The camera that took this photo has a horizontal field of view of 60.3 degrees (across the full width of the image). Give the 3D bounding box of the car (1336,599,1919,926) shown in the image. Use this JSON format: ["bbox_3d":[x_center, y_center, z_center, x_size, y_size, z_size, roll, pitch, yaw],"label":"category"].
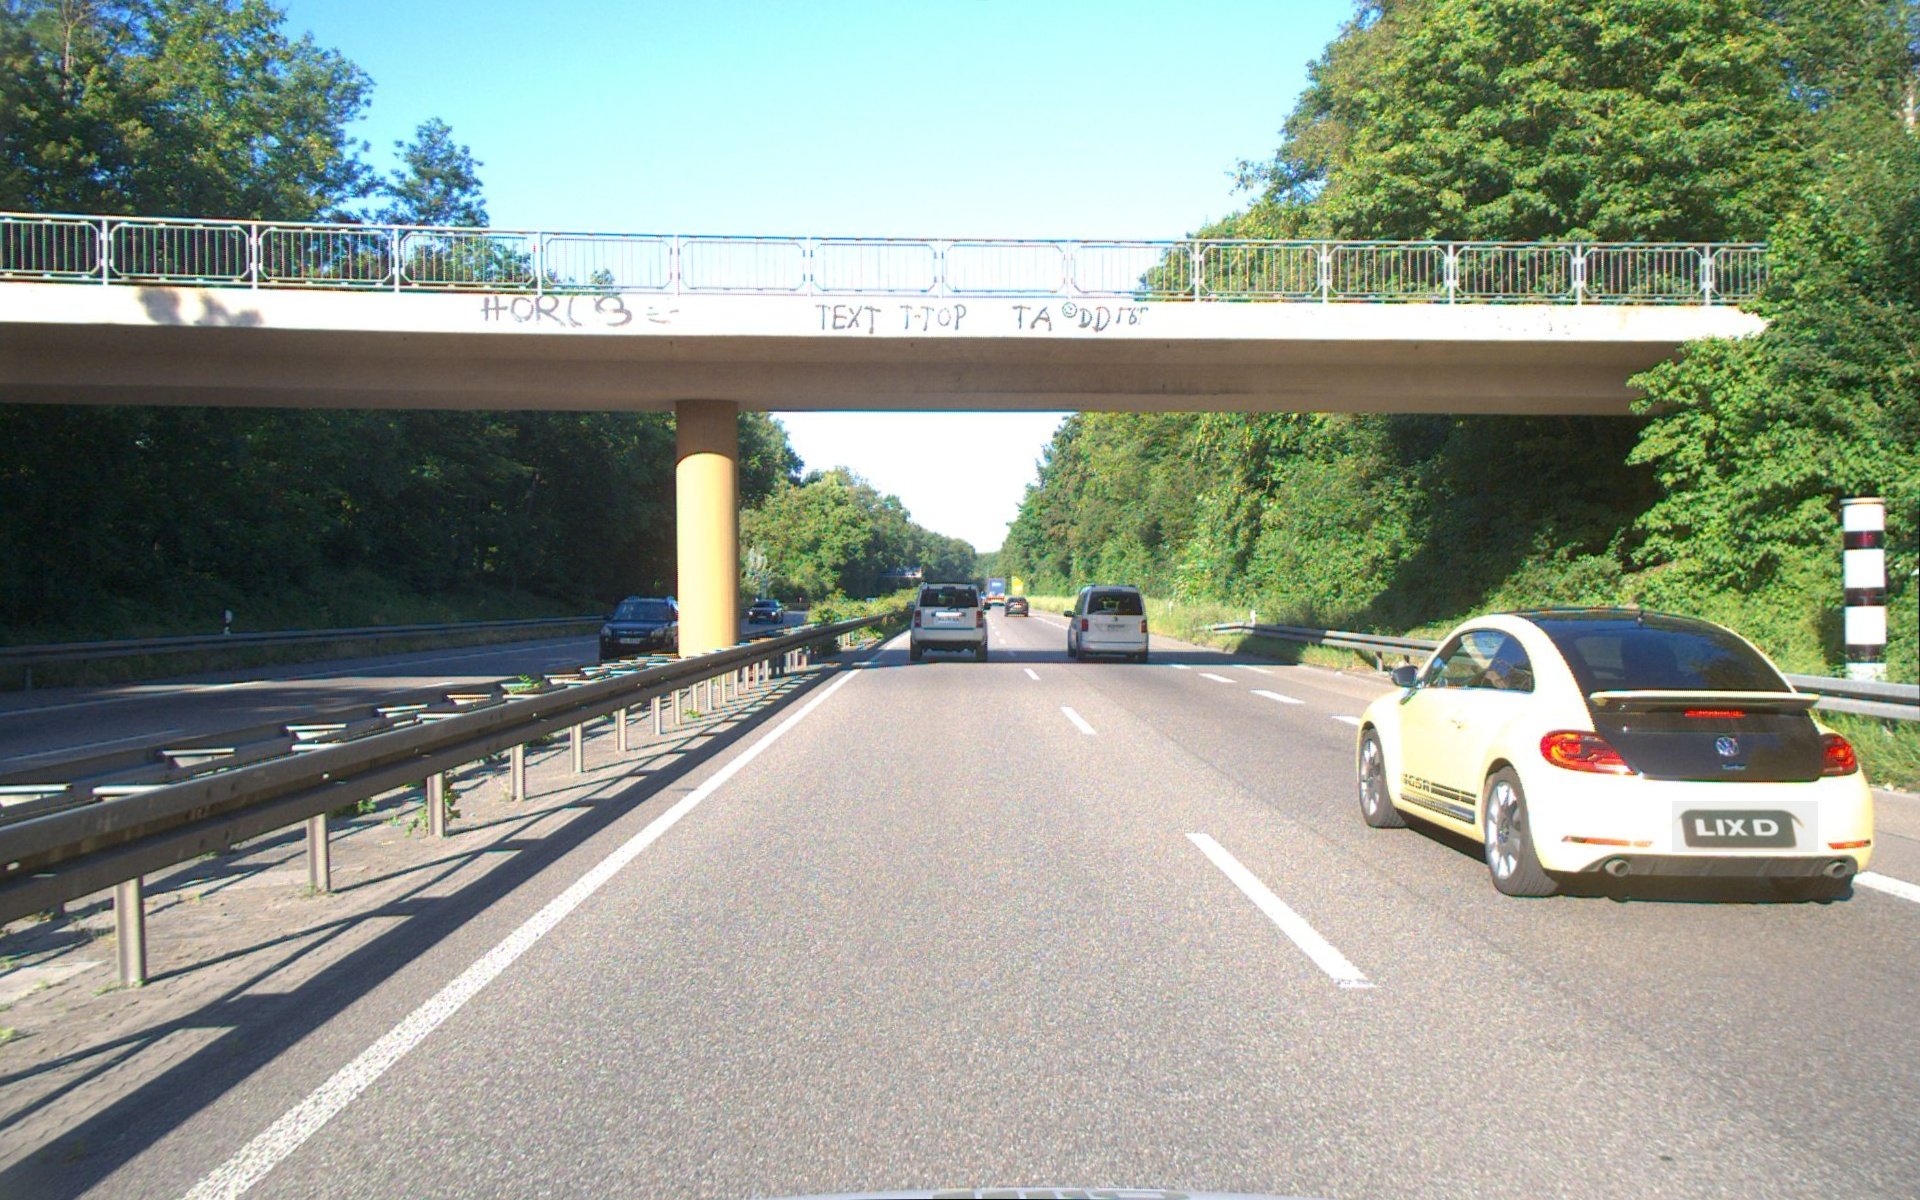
[{"bbox_3d":[3.732,0.758,9.891,1.842,1.487,4.354,0,0,-2],"label":"car"}]

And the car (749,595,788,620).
[{"bbox_3d":[-11.822,0.441,102.553,1.921,1.475,4.583,0,0,-1],"label":"car"}]

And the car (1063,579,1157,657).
[{"bbox_3d":[3.661,0.419,41.036,1.826,1.801,4.469,-1,0,-1],"label":"car"}]

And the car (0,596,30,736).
[{"bbox_3d":[-12.558,0.820,18.062,1.920,1.688,5.040,-1,0,0],"label":"car"}]

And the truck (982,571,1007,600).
[{"bbox_3d":[5.098,-2.147,245.789,3.424,4.245,8.862,-1,0,0],"label":"truck"}]

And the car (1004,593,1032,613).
[{"bbox_3d":[4.287,0.211,123.578,1.952,1.422,4.000,-1,0,0],"label":"car"}]

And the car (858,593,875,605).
[{"bbox_3d":[-11.601,-0.126,205.151,1.921,1.475,4.505,0,0,-2],"label":"car"}]

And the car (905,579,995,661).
[{"bbox_3d":[-0.274,0.439,39.547,2.043,1.860,3.999,0,0,-1],"label":"car"}]

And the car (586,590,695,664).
[{"bbox_3d":[-8.102,0.646,42.356,1.921,1.754,4.591,-1,0,-1],"label":"car"}]
